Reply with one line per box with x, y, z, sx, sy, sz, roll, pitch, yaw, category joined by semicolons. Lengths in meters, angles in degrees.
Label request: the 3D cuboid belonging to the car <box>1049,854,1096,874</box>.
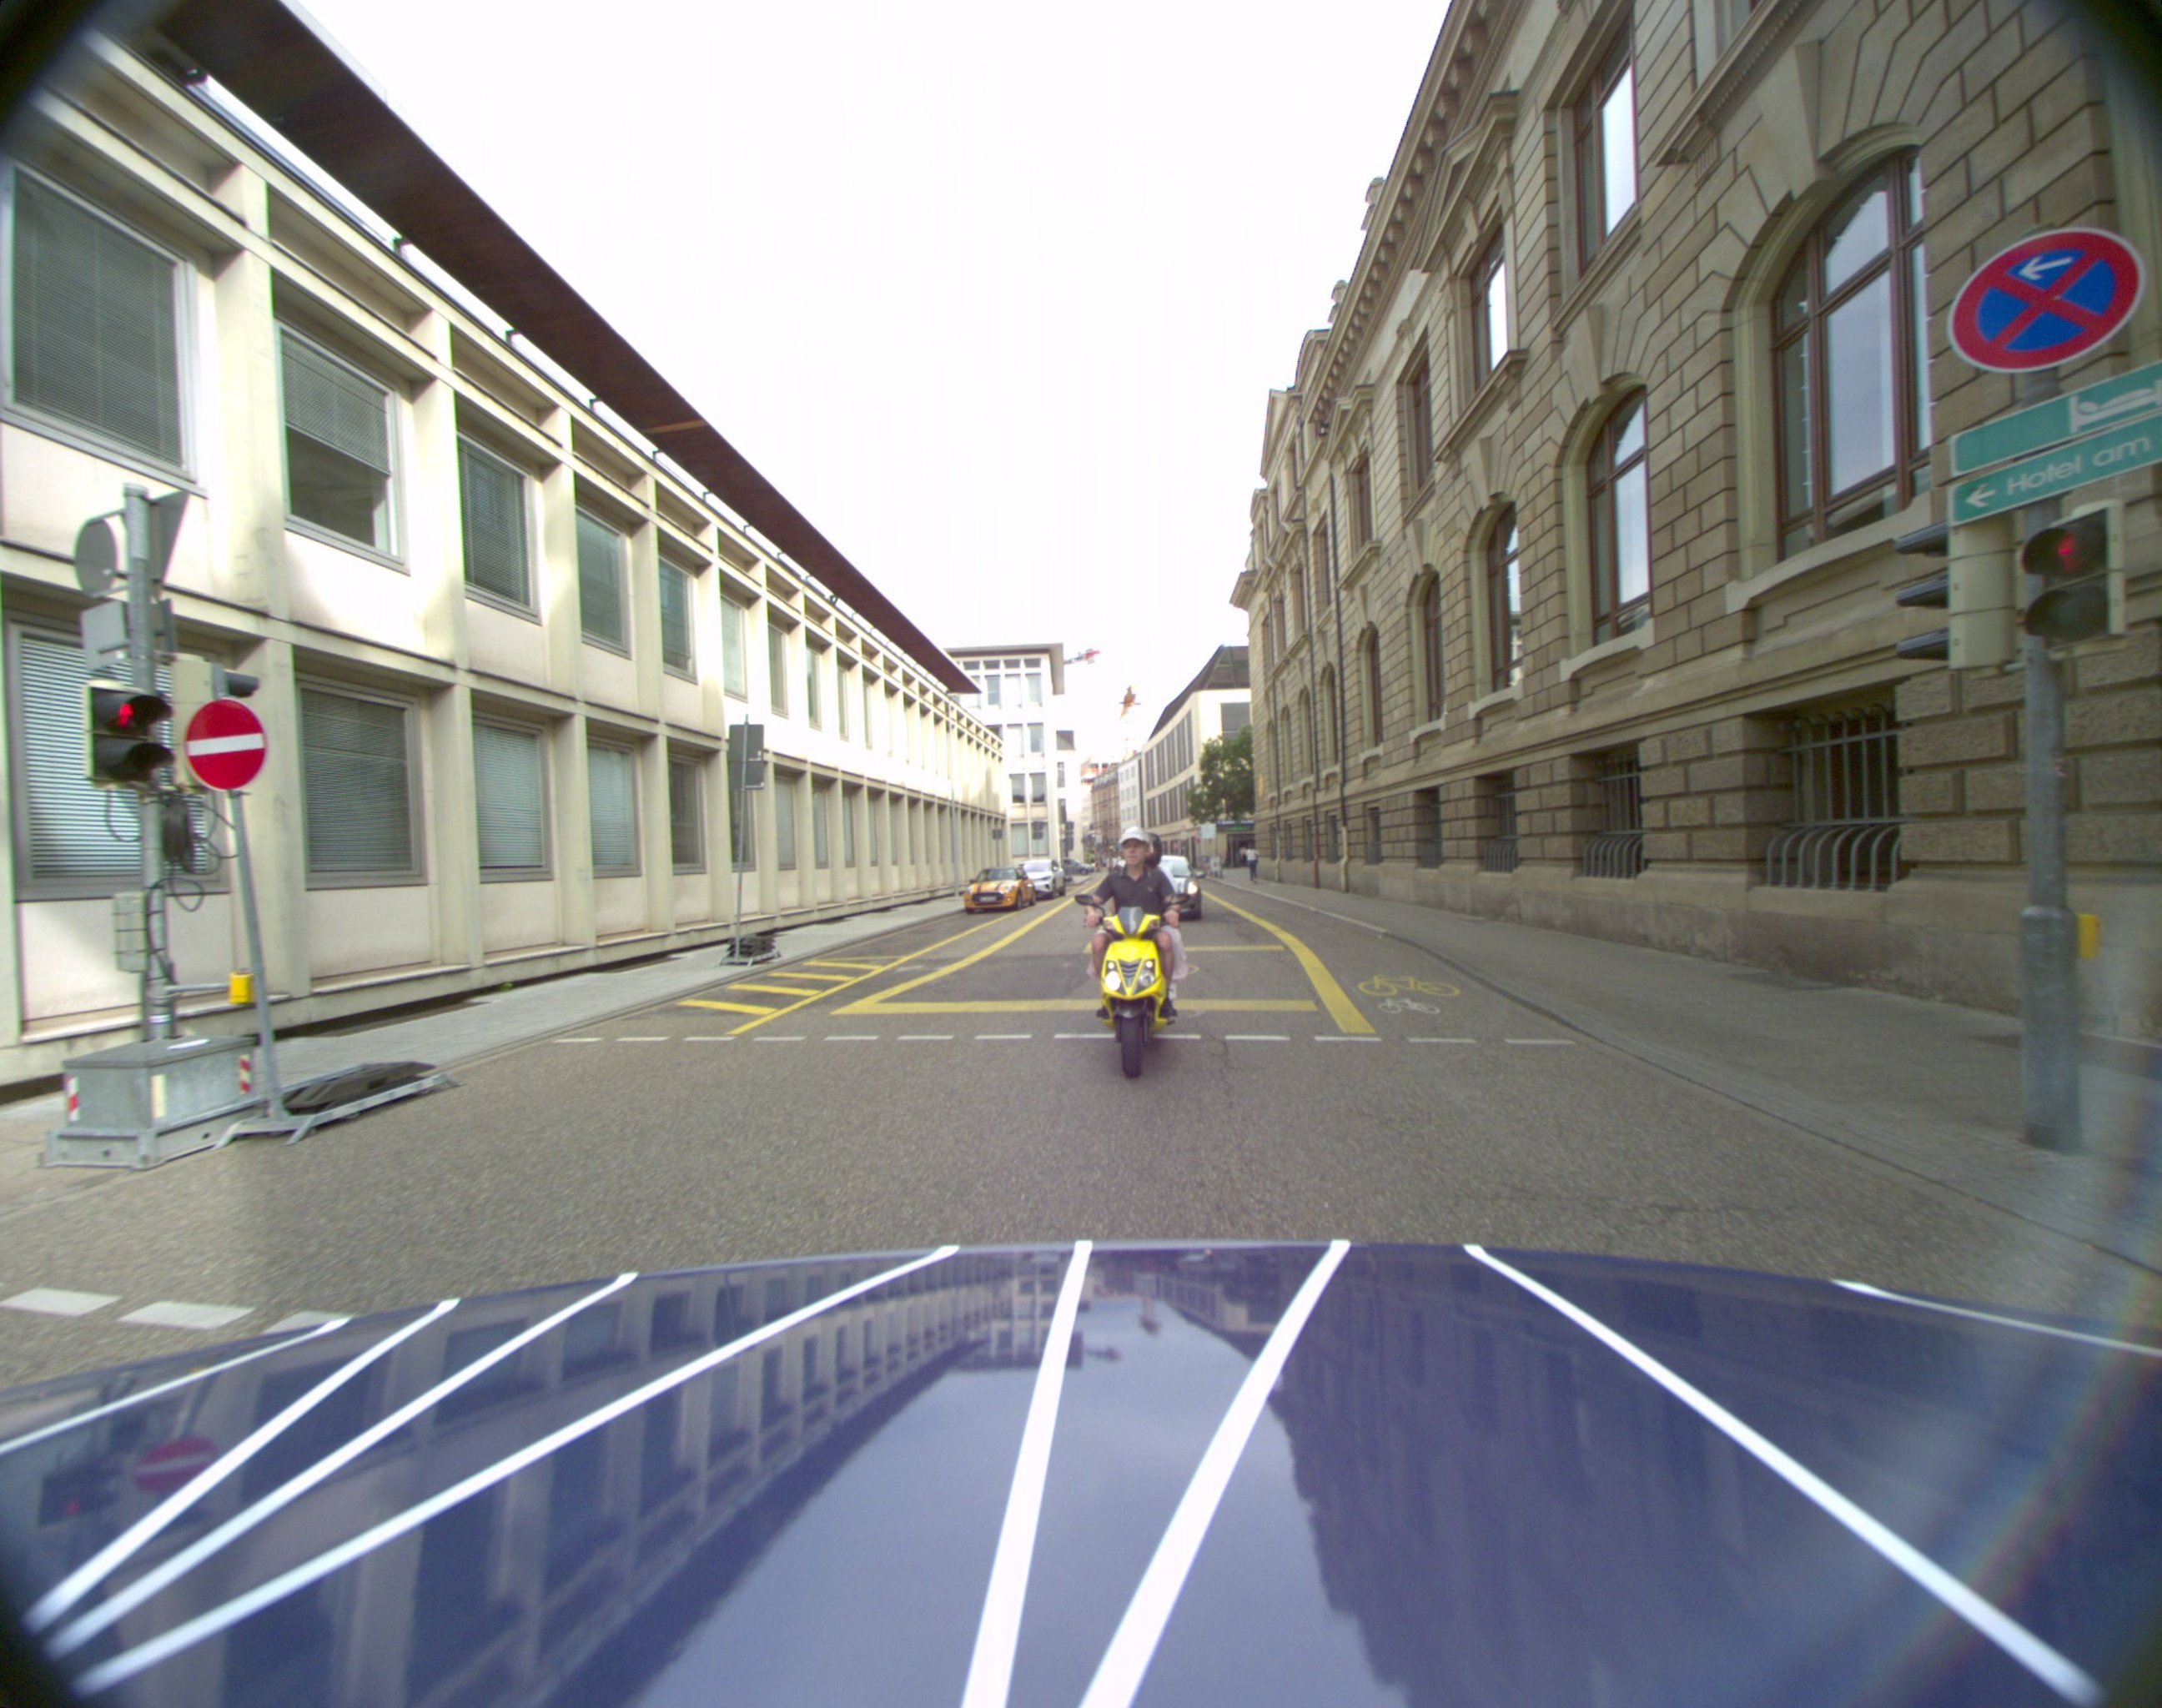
-0.722;0.928;69.363;4.192;1.581;1.815;-2;1;1;car

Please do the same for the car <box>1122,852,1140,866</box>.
6.089;0.591;92.800;1.563;1.547;4.101;-3;1;-4;car

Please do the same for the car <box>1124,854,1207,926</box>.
2.007;0.811;18.880;1.562;1.482;3.783;-3;1;0;car

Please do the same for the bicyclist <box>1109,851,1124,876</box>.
2.354;0.646;50.244;0.892;1.585;0.877;-2;1;5;bicyclist

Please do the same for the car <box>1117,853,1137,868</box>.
4.993;0.665;83.178;1.563;1.547;4.101;-3;1;-4;car

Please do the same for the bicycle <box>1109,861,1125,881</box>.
2.409;1.099;50.513;0.870;1.188;2.865;-2;1;5;bicycle

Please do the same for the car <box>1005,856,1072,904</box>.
-1.636;0.983;31.195;1.864;1.595;4.513;-5;0;7;car

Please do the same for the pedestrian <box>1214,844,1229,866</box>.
11.542;0.079;62.406;0.774;1.820;0.860;-3;1;-17;pedestrian

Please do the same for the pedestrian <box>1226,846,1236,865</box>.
14.539;0.148;73.651;0.648;1.820;0.861;-3;1;-9;pedestrian

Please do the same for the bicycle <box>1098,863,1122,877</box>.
2.197;1.221;57.801;1.724;0.829;0.602;-5;-2;-5;bicycle

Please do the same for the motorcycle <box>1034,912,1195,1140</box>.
0.339;1.083;5.506;0.929;1.158;2.128;-1;0;8;motorcycle

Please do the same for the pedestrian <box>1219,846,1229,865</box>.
13.857;0.176;73.601;0.648;1.820;0.861;-3;1;-9;pedestrian

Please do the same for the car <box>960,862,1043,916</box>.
-2.495;1.073;24.720;1.683;1.426;3.888;-3;1;8;car

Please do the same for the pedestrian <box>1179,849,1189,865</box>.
11.388;0.357;84.160;0.879;1.699;0.910;-6;1;3;pedestrian

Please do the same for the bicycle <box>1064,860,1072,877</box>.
-0.993;1.087;57.704;0.590;1.160;1.814;-2;1;-1;bicycle

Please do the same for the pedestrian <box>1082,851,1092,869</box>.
0.607;0.633;76.635;0.655;1.755;0.642;-7;1;-33;pedestrian

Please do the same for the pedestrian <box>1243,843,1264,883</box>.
7.976;0.409;35.207;0.665;1.809;1.048;-4;1;4;pedestrian

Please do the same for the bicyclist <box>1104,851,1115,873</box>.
2.152;0.632;57.778;0.643;1.609;0.623;-5;0;-4;bicyclist

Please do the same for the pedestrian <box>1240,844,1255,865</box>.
13.851;0.048;63.301;1.028;1.710;0.819;-5;1;4;pedestrian

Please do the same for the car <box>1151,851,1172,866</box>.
8.883;0.483;84.292;1.563;1.547;4.101;-3;1;-4;car

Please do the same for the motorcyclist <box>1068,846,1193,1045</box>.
0.403;0.674;5.950;0.903;1.445;0.742;-1;0;6;motorcyclist

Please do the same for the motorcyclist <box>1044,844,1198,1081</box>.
0.302;0.665;5.198;0.923;1.445;1.066;-1;0;6;motorcyclist
